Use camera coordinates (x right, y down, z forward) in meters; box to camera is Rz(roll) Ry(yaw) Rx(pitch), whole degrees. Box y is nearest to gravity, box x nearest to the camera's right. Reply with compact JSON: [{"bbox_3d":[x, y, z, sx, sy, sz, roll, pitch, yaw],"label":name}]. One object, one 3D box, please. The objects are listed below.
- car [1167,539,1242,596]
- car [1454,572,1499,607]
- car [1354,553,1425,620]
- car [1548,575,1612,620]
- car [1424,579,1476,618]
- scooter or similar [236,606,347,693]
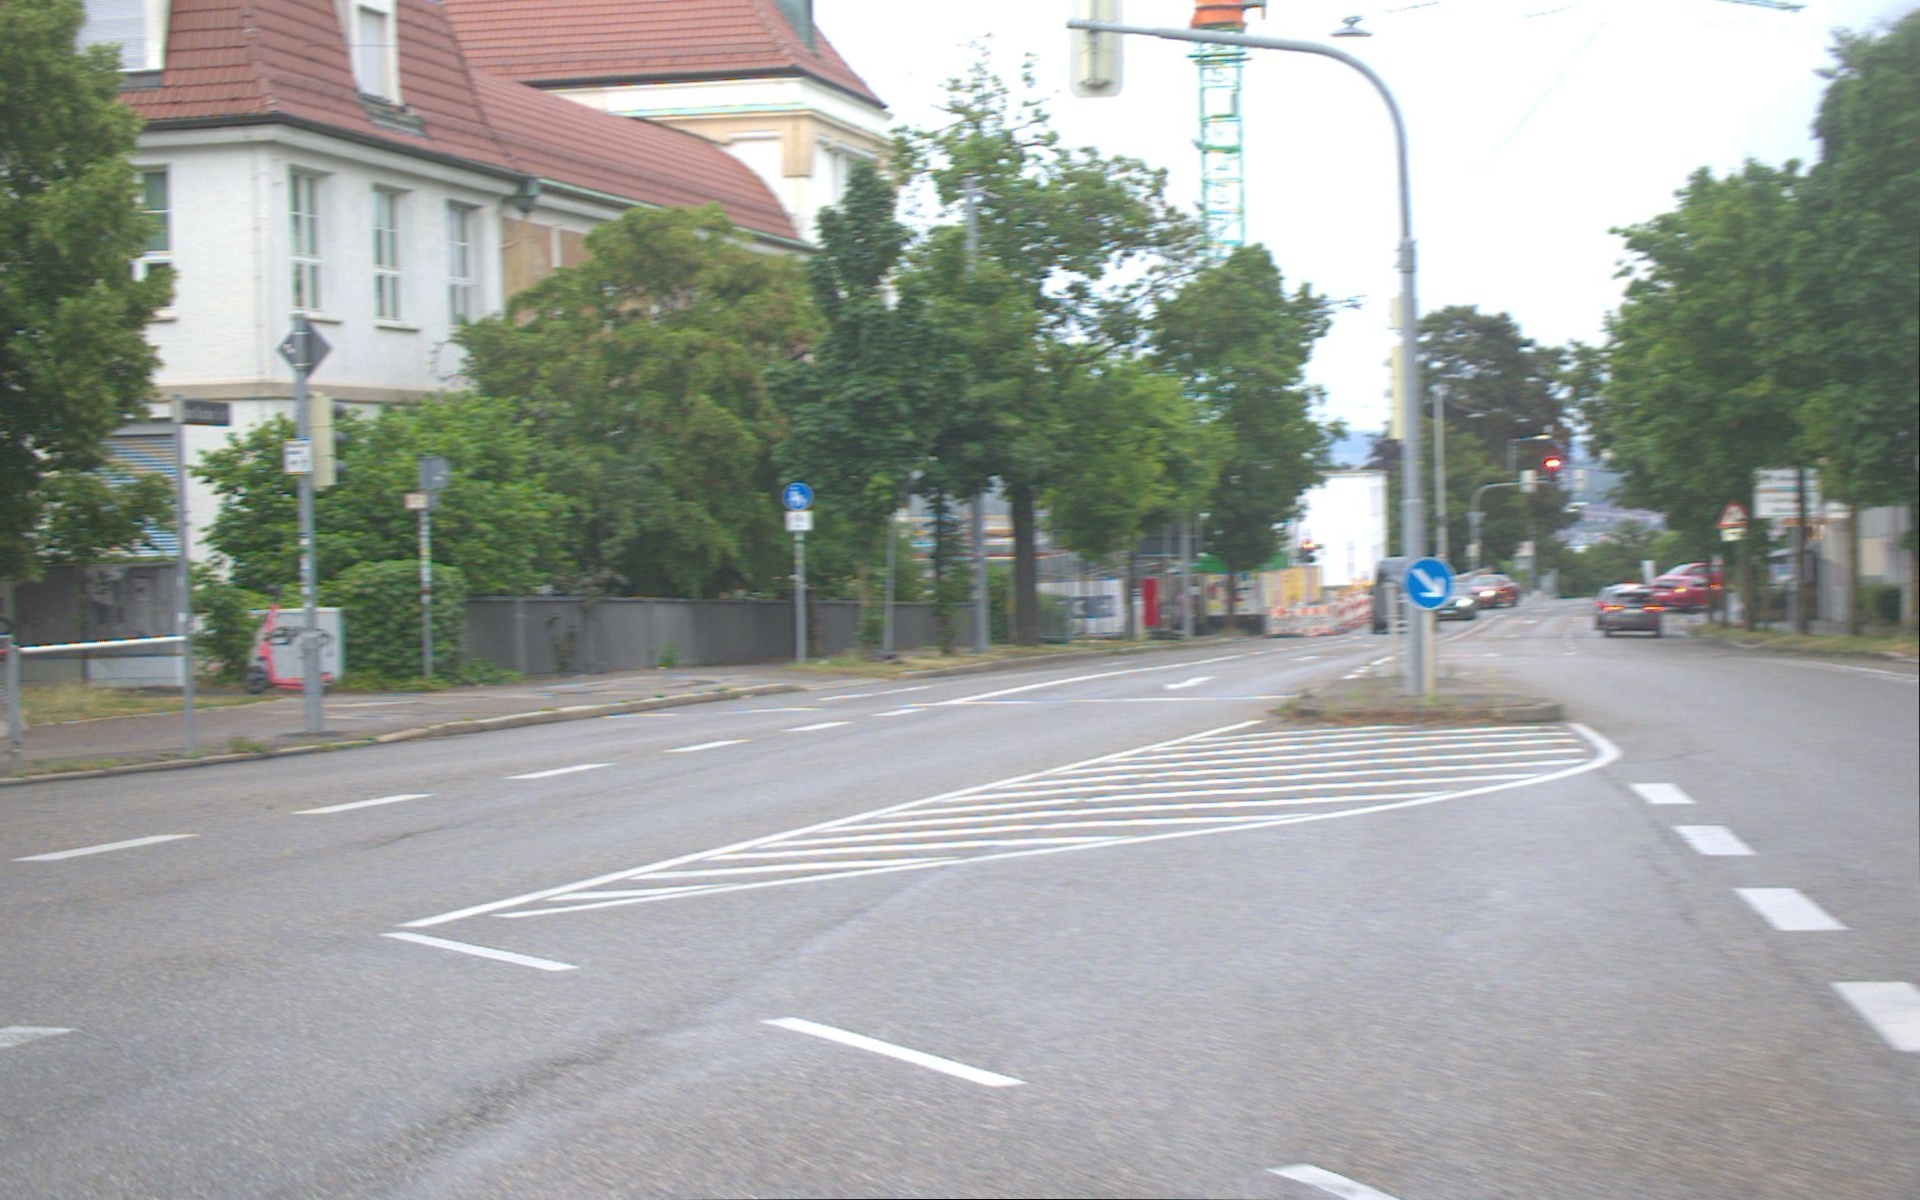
[{"bbox_3d":[8.902,-1.194,124.885,1.995,2.007,3.997,0,1,15],"label":"car"},{"bbox_3d":[22.079,-0.449,146.829,1.501,1.443,3.478,0,1,15],"label":"car"},{"bbox_3d":[14.655,-0.469,117.187,1.836,2.204,3.997,0,1,15],"label":"car"},{"bbox_3d":[20.979,-0.087,116.262,1.777,1.434,3.868,0,1,15],"label":"car"},{"bbox_3d":[18.996,-0.065,133.289,1.577,1.456,3.535,0,1,15],"label":"car"},{"bbox_3d":[-7.447,0.551,38.330,1.086,0.951,0.538,1,-1,-41],"label":"scooter or similar"}]
